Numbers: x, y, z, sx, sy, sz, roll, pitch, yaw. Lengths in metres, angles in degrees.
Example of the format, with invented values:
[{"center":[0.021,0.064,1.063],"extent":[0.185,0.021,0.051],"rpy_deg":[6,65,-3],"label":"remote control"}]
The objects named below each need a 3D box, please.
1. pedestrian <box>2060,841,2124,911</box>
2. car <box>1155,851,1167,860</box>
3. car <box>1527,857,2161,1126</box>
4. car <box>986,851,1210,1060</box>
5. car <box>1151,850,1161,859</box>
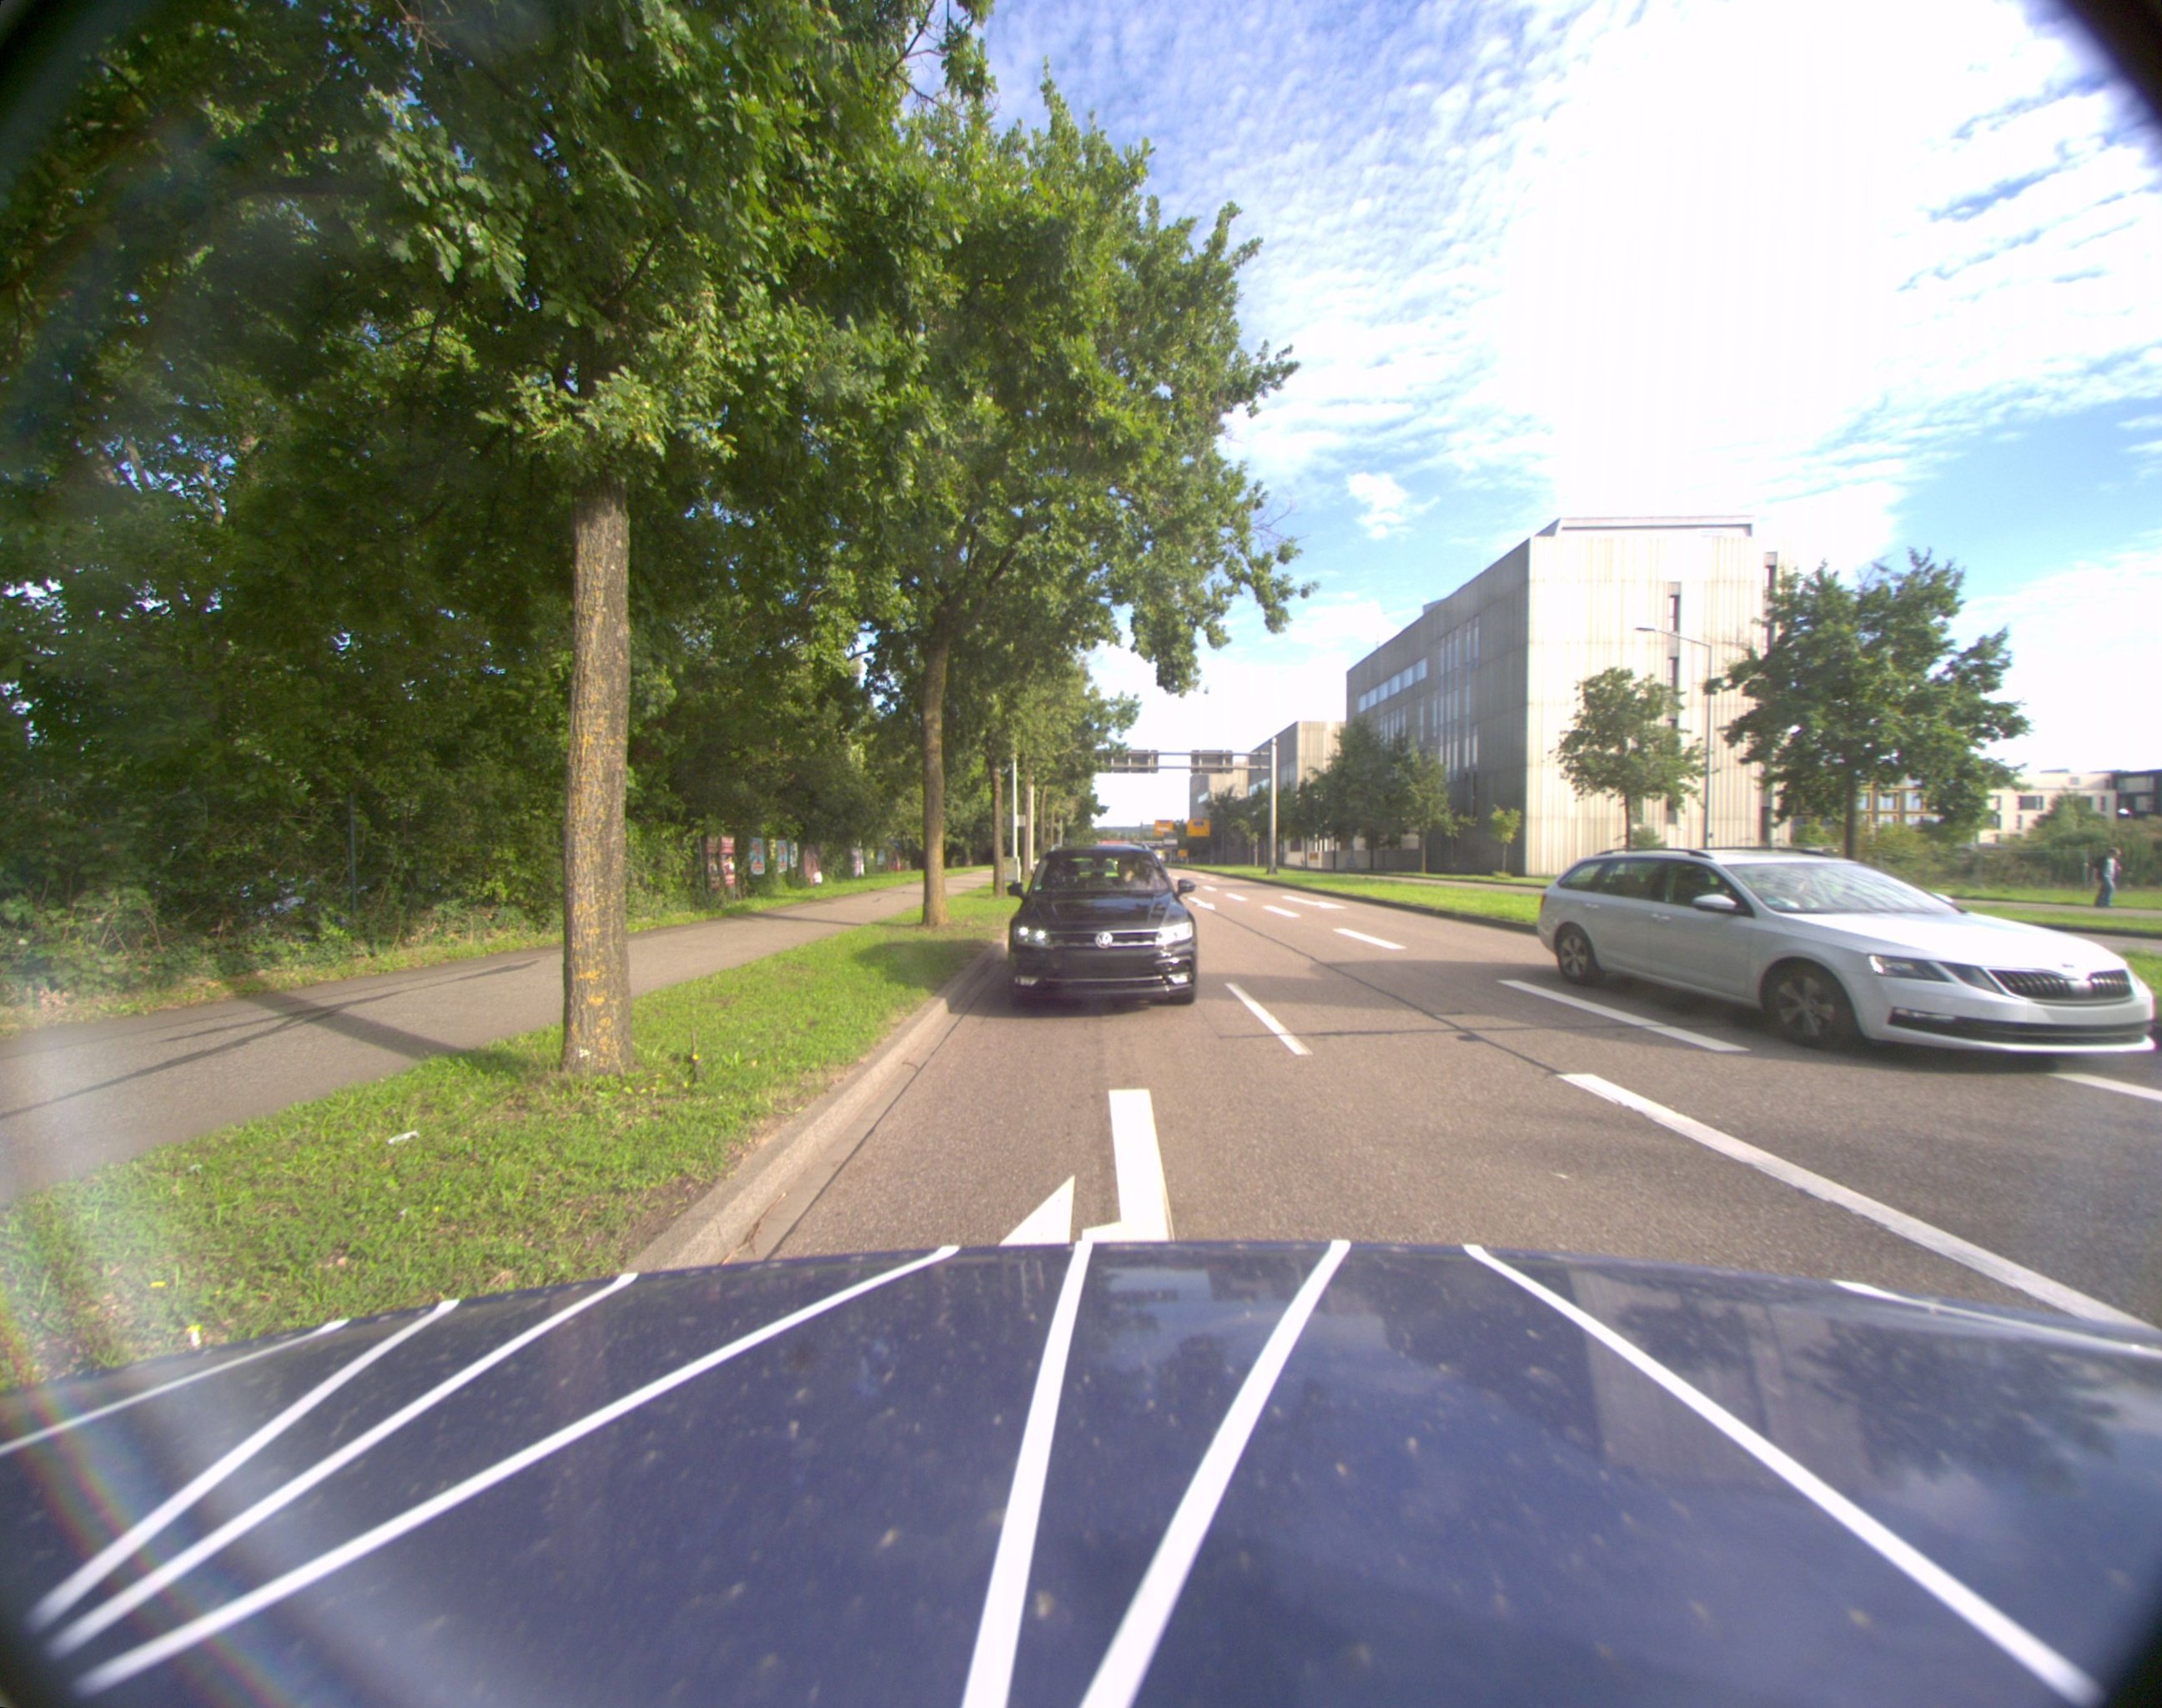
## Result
[{"center":[29.609,0.640,22.270],"extent":[0.676,2.002,0.867],"rpy_deg":[0,1,0],"label":"pedestrian"},{"center":[17.189,0.292,163.507],"extent":[1.998,2.002,4.000],"rpy_deg":[0,0,0],"label":"car"},{"center":[6.062,0.817,6.676],"extent":[1.702,1.490,4.481],"rpy_deg":[-1,1,1],"label":"car"},{"center":[0.194,0.816,8.075],"extent":[1.775,1.637,3.868],"rpy_deg":[-1,1,2],"label":"car"},{"center":[17.775,0.083,179.916],"extent":[1.998,2.002,3.983],"rpy_deg":[0,0,0],"label":"car"}]
